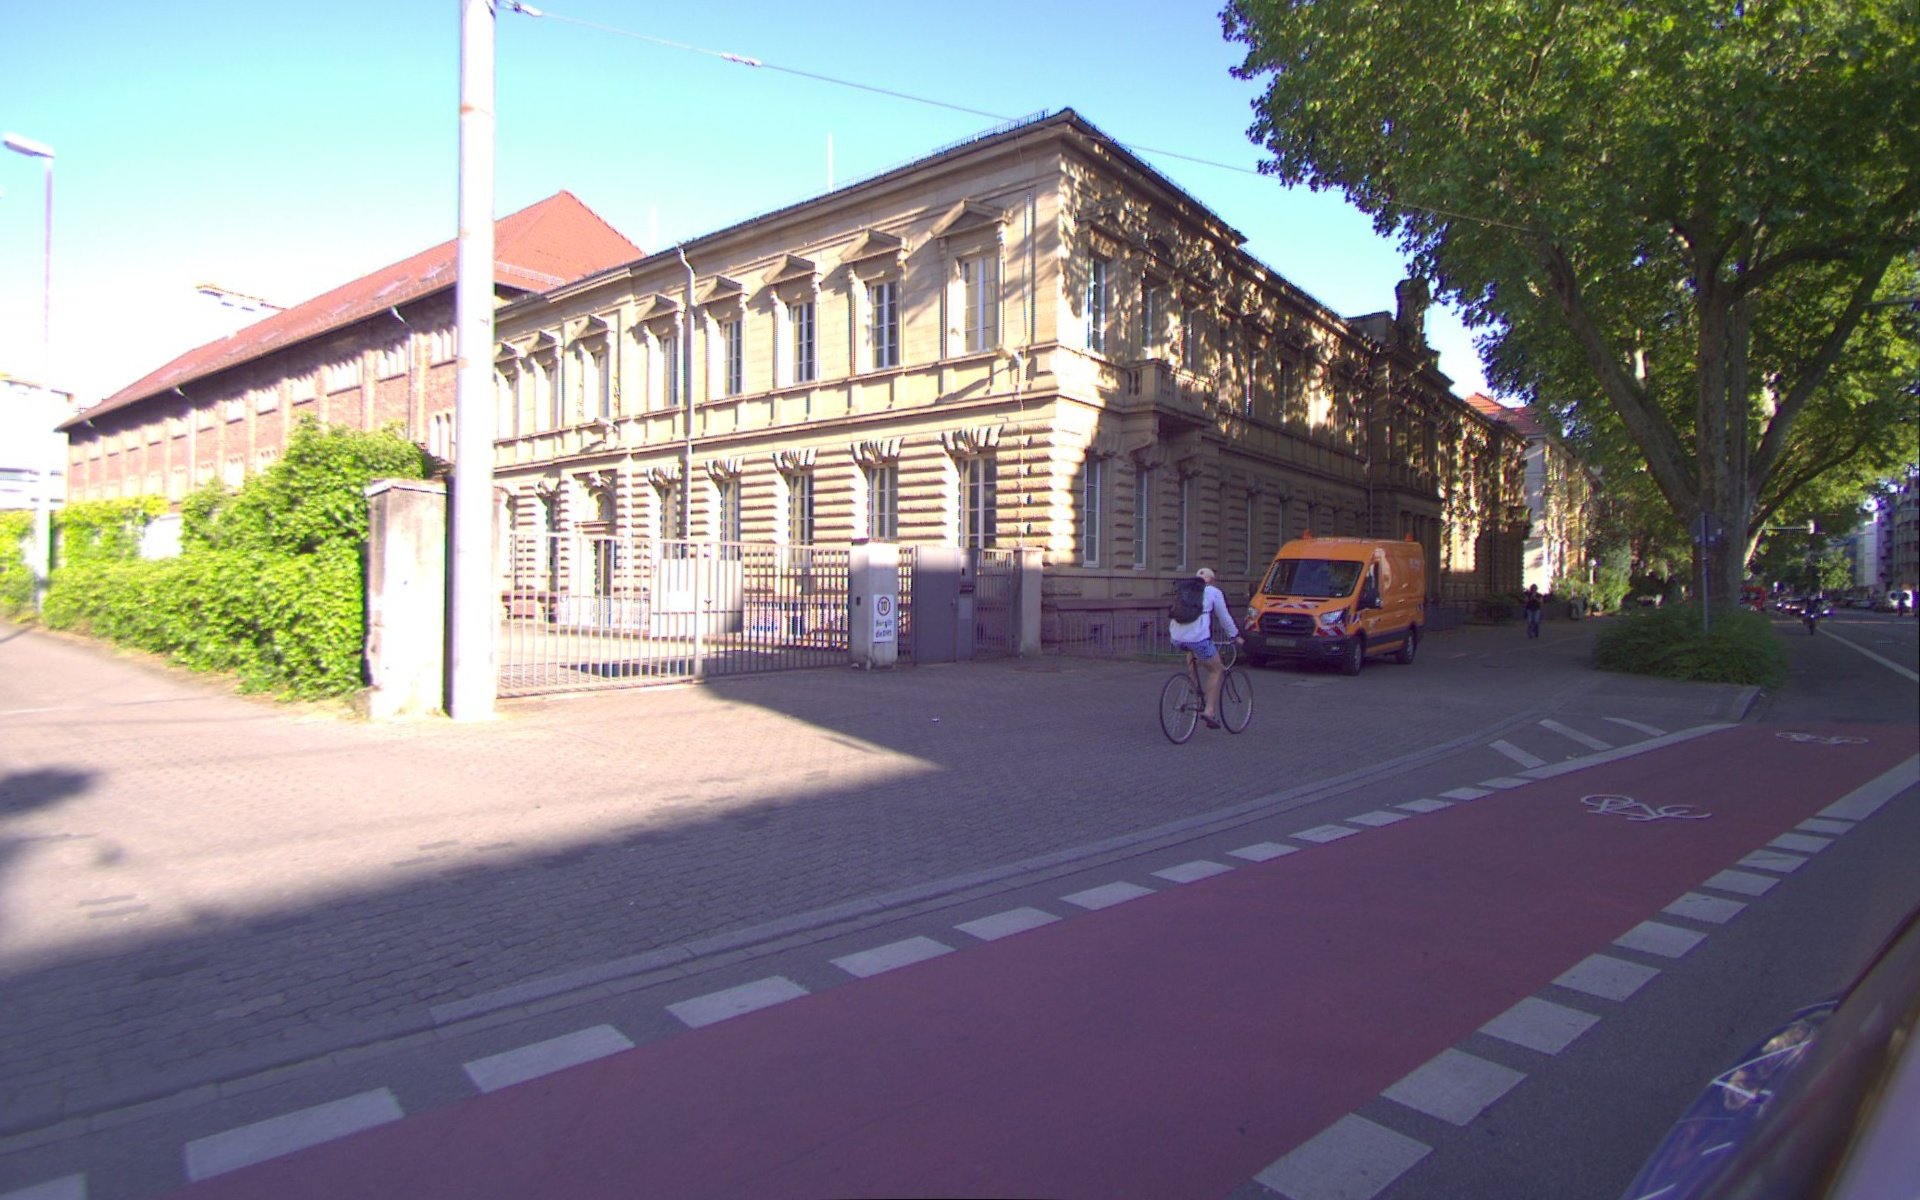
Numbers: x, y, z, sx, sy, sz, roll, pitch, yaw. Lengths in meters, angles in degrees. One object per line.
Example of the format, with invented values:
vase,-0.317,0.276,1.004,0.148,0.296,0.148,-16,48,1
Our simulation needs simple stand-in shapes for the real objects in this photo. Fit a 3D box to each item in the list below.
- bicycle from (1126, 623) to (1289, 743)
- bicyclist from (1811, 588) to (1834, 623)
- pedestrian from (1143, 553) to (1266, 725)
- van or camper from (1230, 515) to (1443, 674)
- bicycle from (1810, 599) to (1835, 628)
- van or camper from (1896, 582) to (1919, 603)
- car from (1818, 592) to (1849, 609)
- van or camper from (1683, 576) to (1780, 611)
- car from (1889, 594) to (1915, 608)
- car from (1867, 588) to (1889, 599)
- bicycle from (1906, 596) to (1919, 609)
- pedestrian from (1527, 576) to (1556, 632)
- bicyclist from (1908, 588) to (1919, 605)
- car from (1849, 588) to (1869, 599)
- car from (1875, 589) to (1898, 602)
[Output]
bicycle,2.573,0.806,10.410,1.869,1.045,0.675,0,3,-43
bicyclist,35.959,0.222,42.196,0.712,1.461,0.940,1,1,40
pedestrian,2.494,0.359,10.299,1.083,1.639,0.670,0,3,-43
van or camper,7.349,-0.127,19.323,2.033,2.591,5.689,1,1,40
bicycle,36.049,0.544,42.315,0.711,1.152,2.091,1,1,38
van or camper,106.062,-0.864,112.830,1.935,2.309,4.536,-2,-1,37
car,73.958,0.029,85.729,1.731,1.390,3.866,-2,-1,37
van or camper,60.123,-0.533,79.010,5.897,2.528,2.193,1,3,37
car,109.534,0.114,117.706,1.799,1.563,3.866,-2,-1,37
car,127.920,-0.929,141.100,1.798,1.563,3.868,-2,-1,36
bicycle,86.526,0.223,91.696,0.710,1.152,2.096,1,1,32
pedestrian,18.663,0.115,32.500,0.649,1.758,0.993,1,1,39
bicyclist,86.535,-0.304,91.703,0.710,1.536,0.943,1,1,32
car,136.838,-1.006,154.093,1.798,1.563,3.868,-2,-1,36
car,121.831,-0.580,133.131,1.799,1.563,3.866,-2,-1,37
